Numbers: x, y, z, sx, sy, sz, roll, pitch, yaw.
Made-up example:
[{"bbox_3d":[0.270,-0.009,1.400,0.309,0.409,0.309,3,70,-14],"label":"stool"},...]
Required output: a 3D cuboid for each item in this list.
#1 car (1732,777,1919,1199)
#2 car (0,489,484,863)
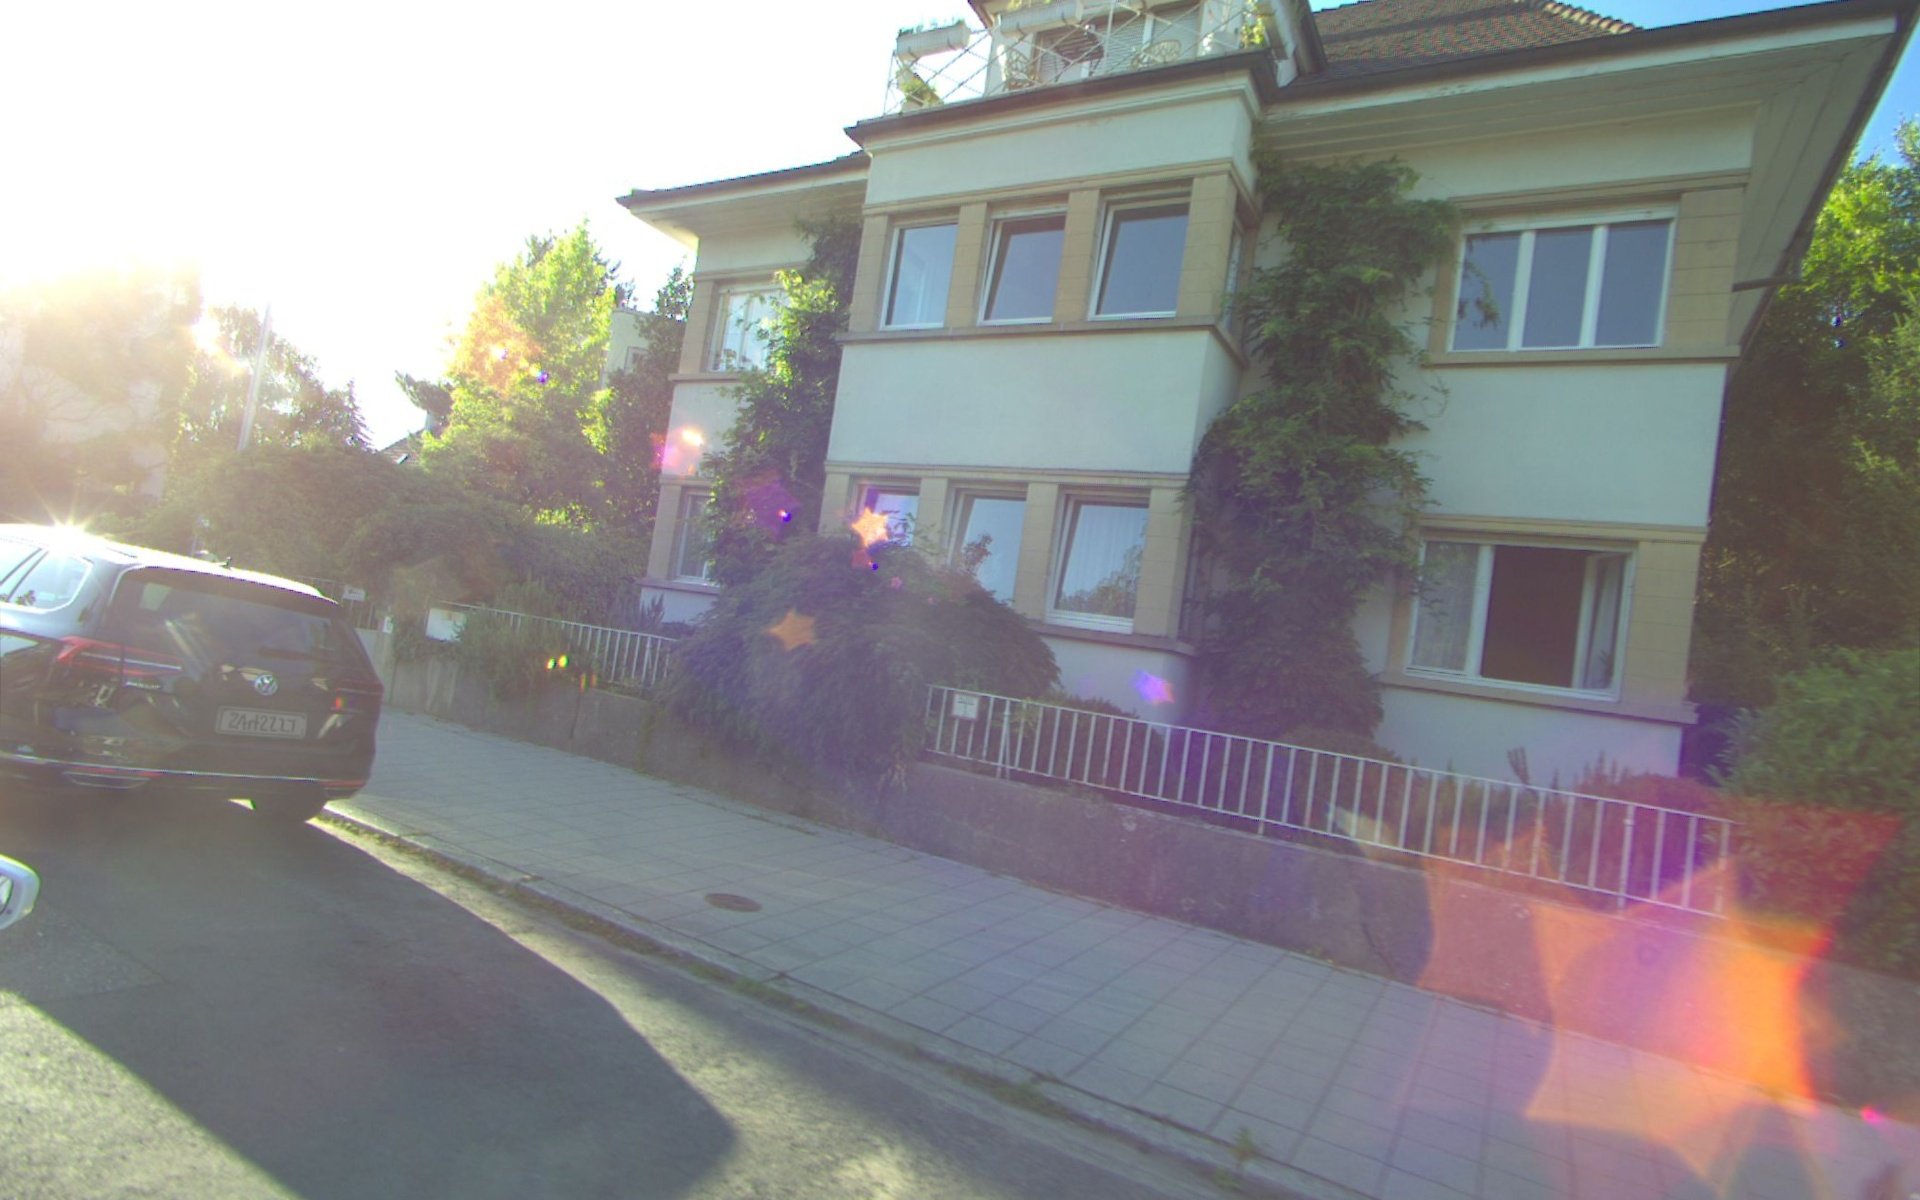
[{"bbox_3d":[3.577,1.327,0.880,4.390,1.550,1.891,5,-8,33],"label":"car"},{"bbox_3d":[-5.582,0.335,6.418,4.804,1.611,2.004,5,-9,30],"label":"car"}]
